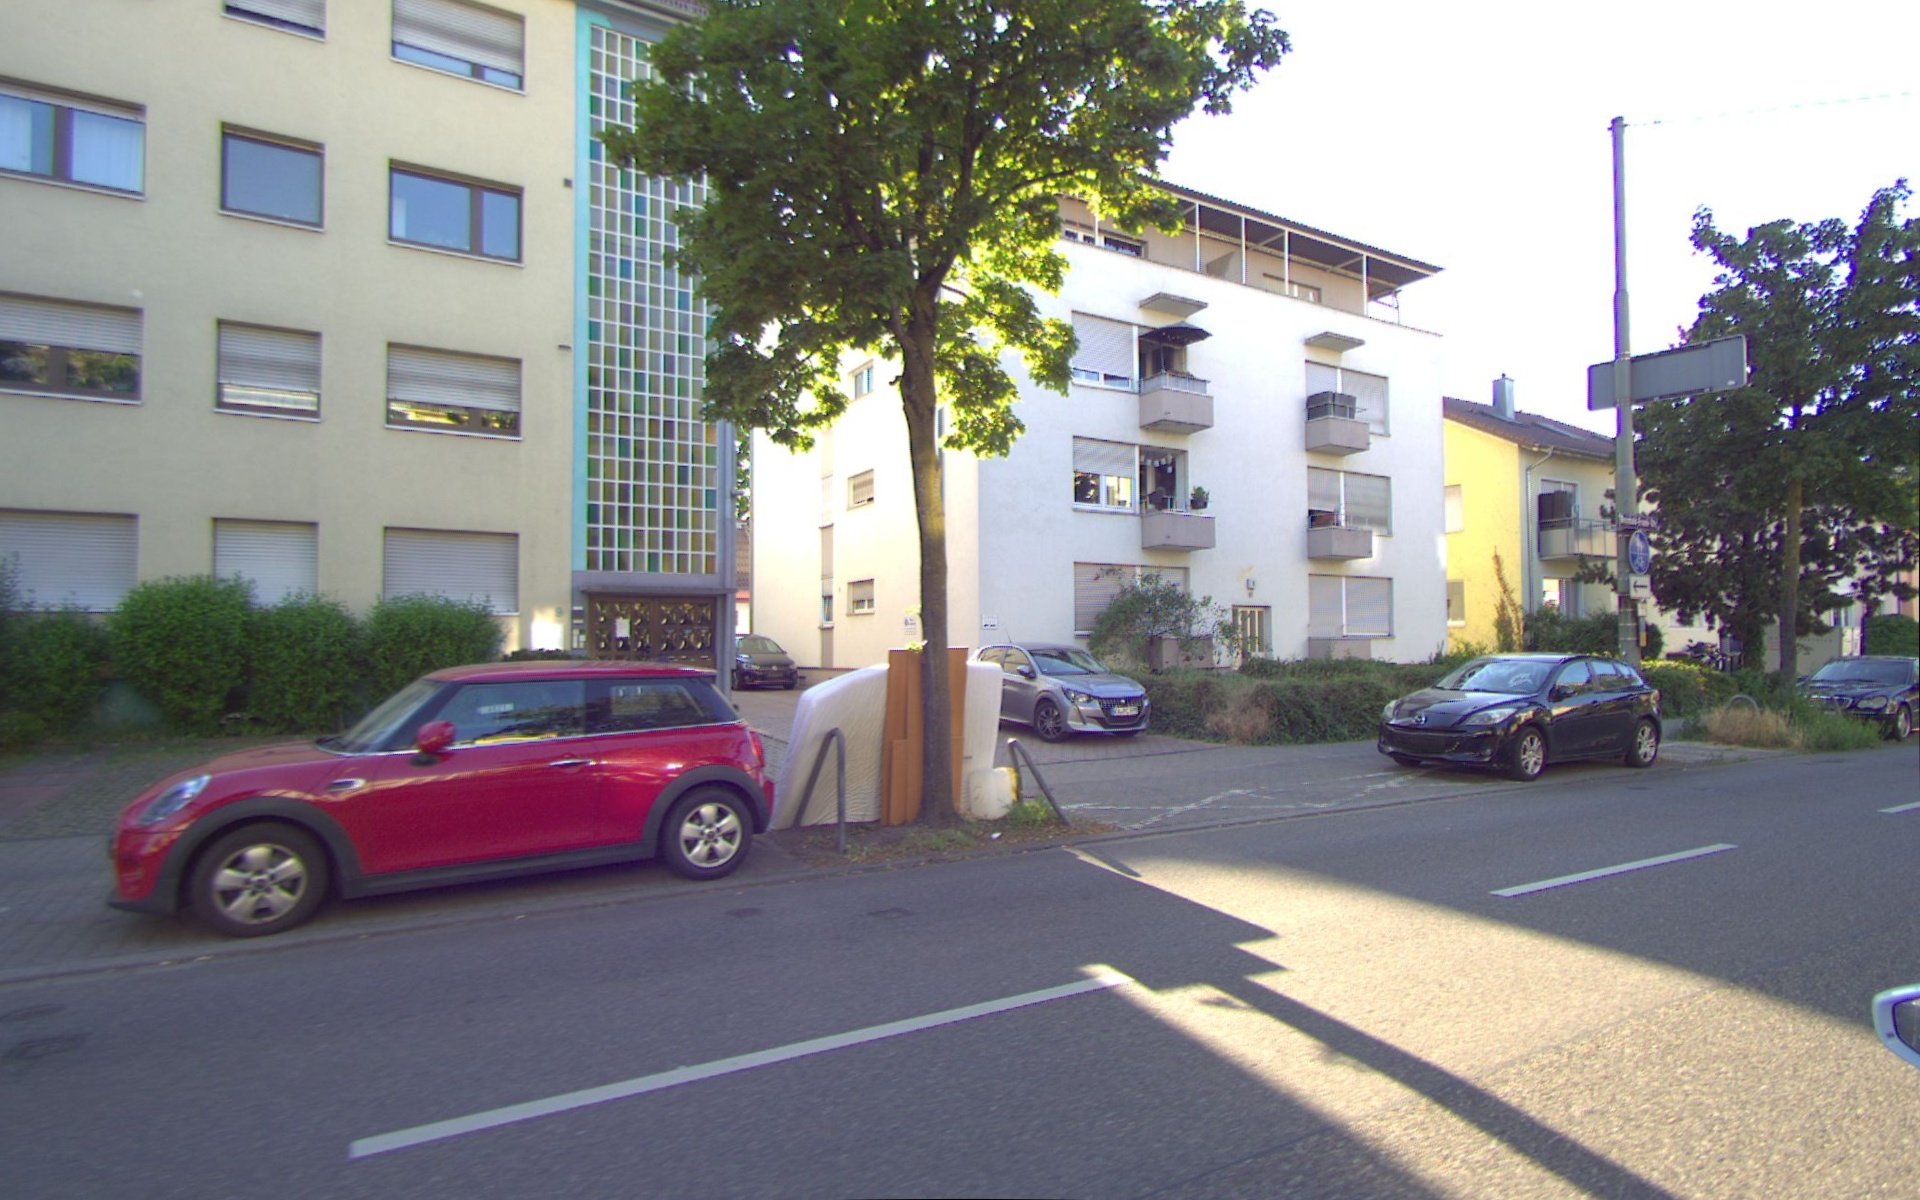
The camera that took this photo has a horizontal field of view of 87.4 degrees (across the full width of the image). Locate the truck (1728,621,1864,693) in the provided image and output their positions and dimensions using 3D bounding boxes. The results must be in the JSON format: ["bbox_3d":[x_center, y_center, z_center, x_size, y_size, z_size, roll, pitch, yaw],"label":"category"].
[{"bbox_3d":[26.030,1.750,31.359,1.528,2.121,2.900,1,-3,-30],"label":"truck"}]

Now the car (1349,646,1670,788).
[{"bbox_3d":[7.091,1.363,12.860,4.198,1.517,1.709,1,-3,-31],"label":"car"}]

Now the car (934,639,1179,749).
[{"bbox_3d":[1.452,1.424,16.521,1.979,1.498,3.963,1,-2,-34],"label":"car"}]

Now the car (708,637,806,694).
[{"bbox_3d":[-6.000,1.846,29.348,1.785,1.498,3.972,1,-2,-28],"label":"car"}]

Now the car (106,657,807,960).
[{"bbox_3d":[-3.093,1.140,6.747,3.742,1.439,1.709,1,-3,-31],"label":"car"}]

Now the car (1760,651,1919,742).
[{"bbox_3d":[16.748,1.682,18.432,4.373,1.438,1.746,1,-3,-30],"label":"car"}]
